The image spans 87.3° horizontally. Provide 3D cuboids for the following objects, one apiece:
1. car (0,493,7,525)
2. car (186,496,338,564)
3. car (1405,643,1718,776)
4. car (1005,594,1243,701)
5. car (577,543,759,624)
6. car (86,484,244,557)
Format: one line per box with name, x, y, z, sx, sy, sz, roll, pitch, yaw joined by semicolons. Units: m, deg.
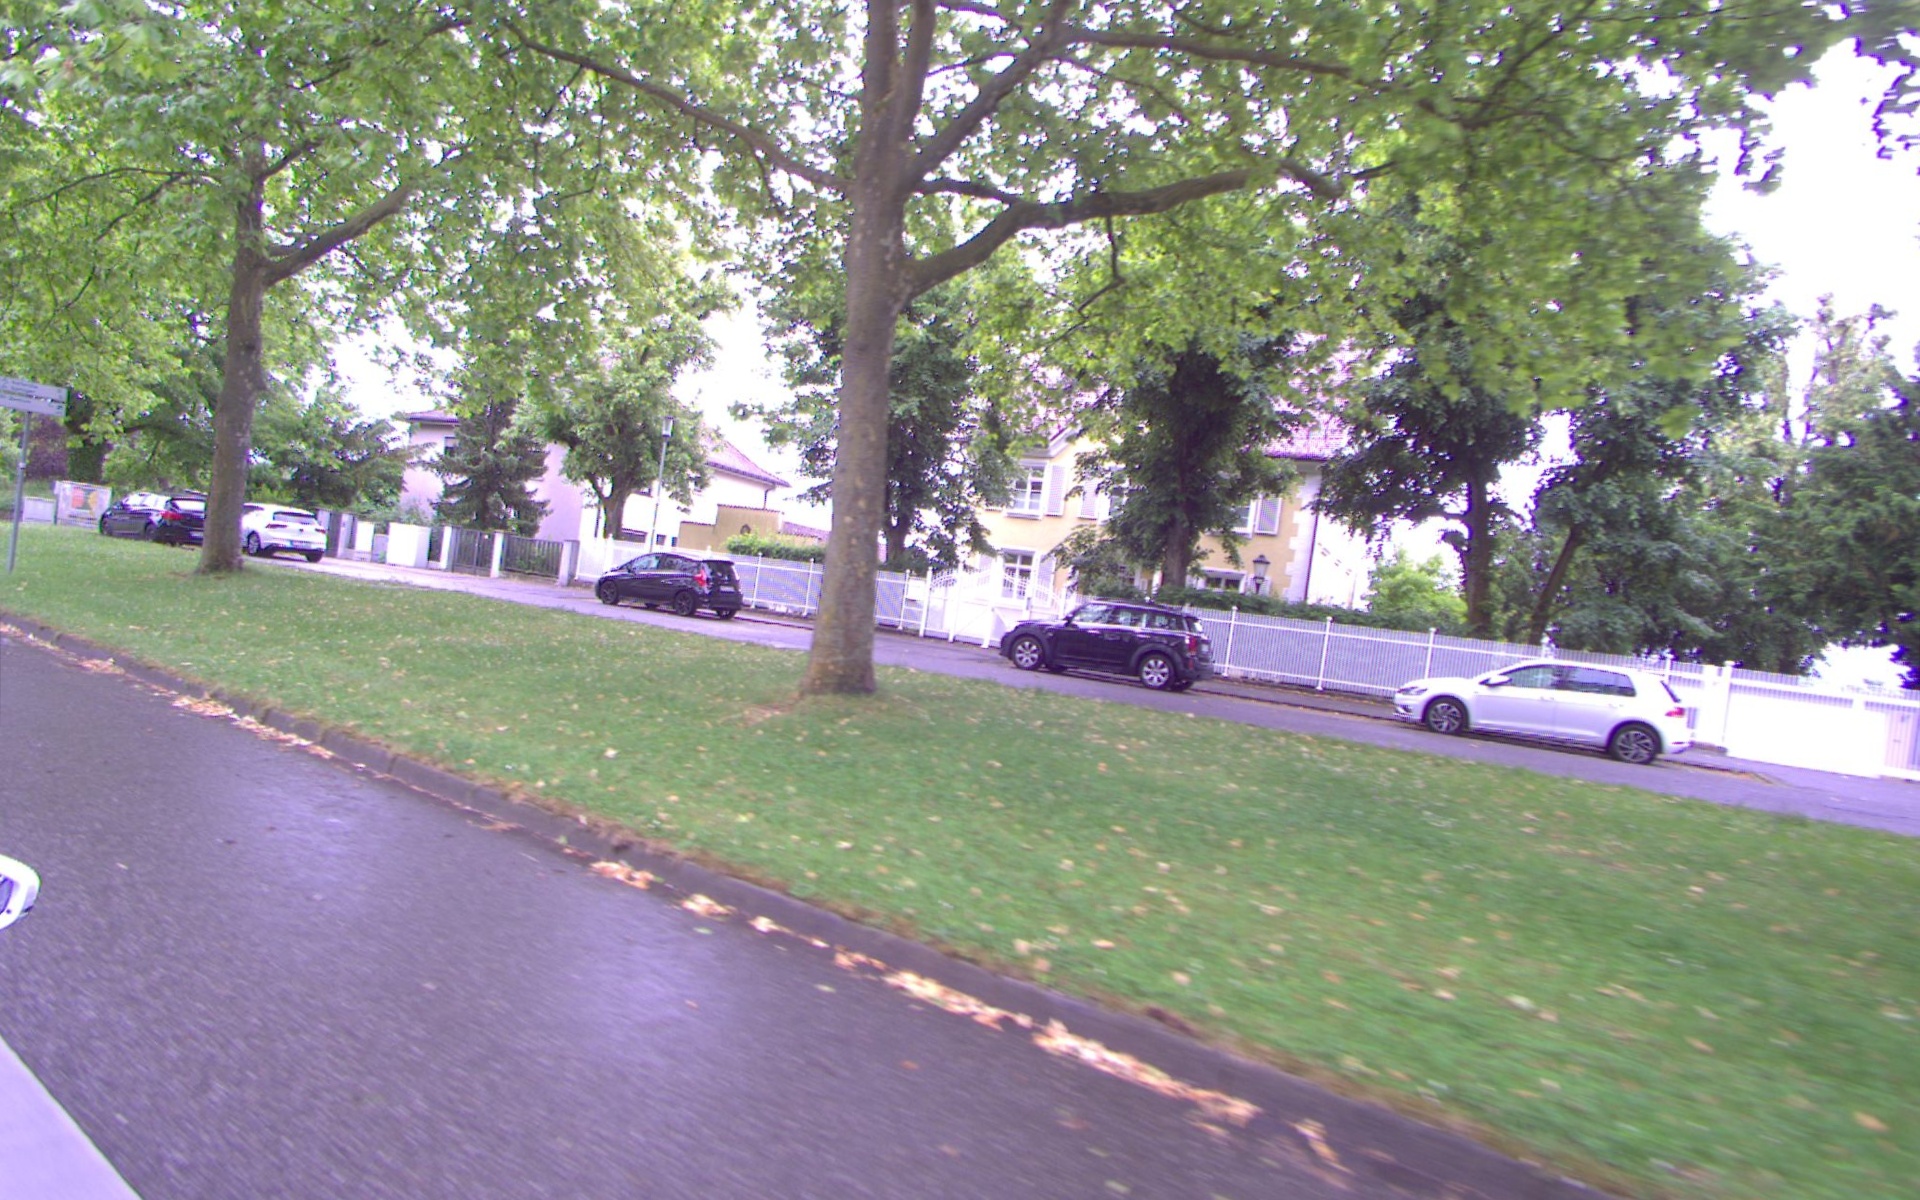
car;-47.796;-4.626;48.003;1.975;1.547;3.979;8;-2;-23
car;-20.232;-2.027;29.131;4.351;1.489;1.847;6;1;30
car;9.633;1.731;16.498;4.053;1.465;1.999;7;-2;28
car;3.198;0.923;19.677;4.053;1.488;1.999;7;-2;28
car;-7.410;-0.419;25.491;4.281;1.488;1.765;7;-1;28
car;-21.280;-2.139;26.891;4.521;1.490;1.765;6;1;31
